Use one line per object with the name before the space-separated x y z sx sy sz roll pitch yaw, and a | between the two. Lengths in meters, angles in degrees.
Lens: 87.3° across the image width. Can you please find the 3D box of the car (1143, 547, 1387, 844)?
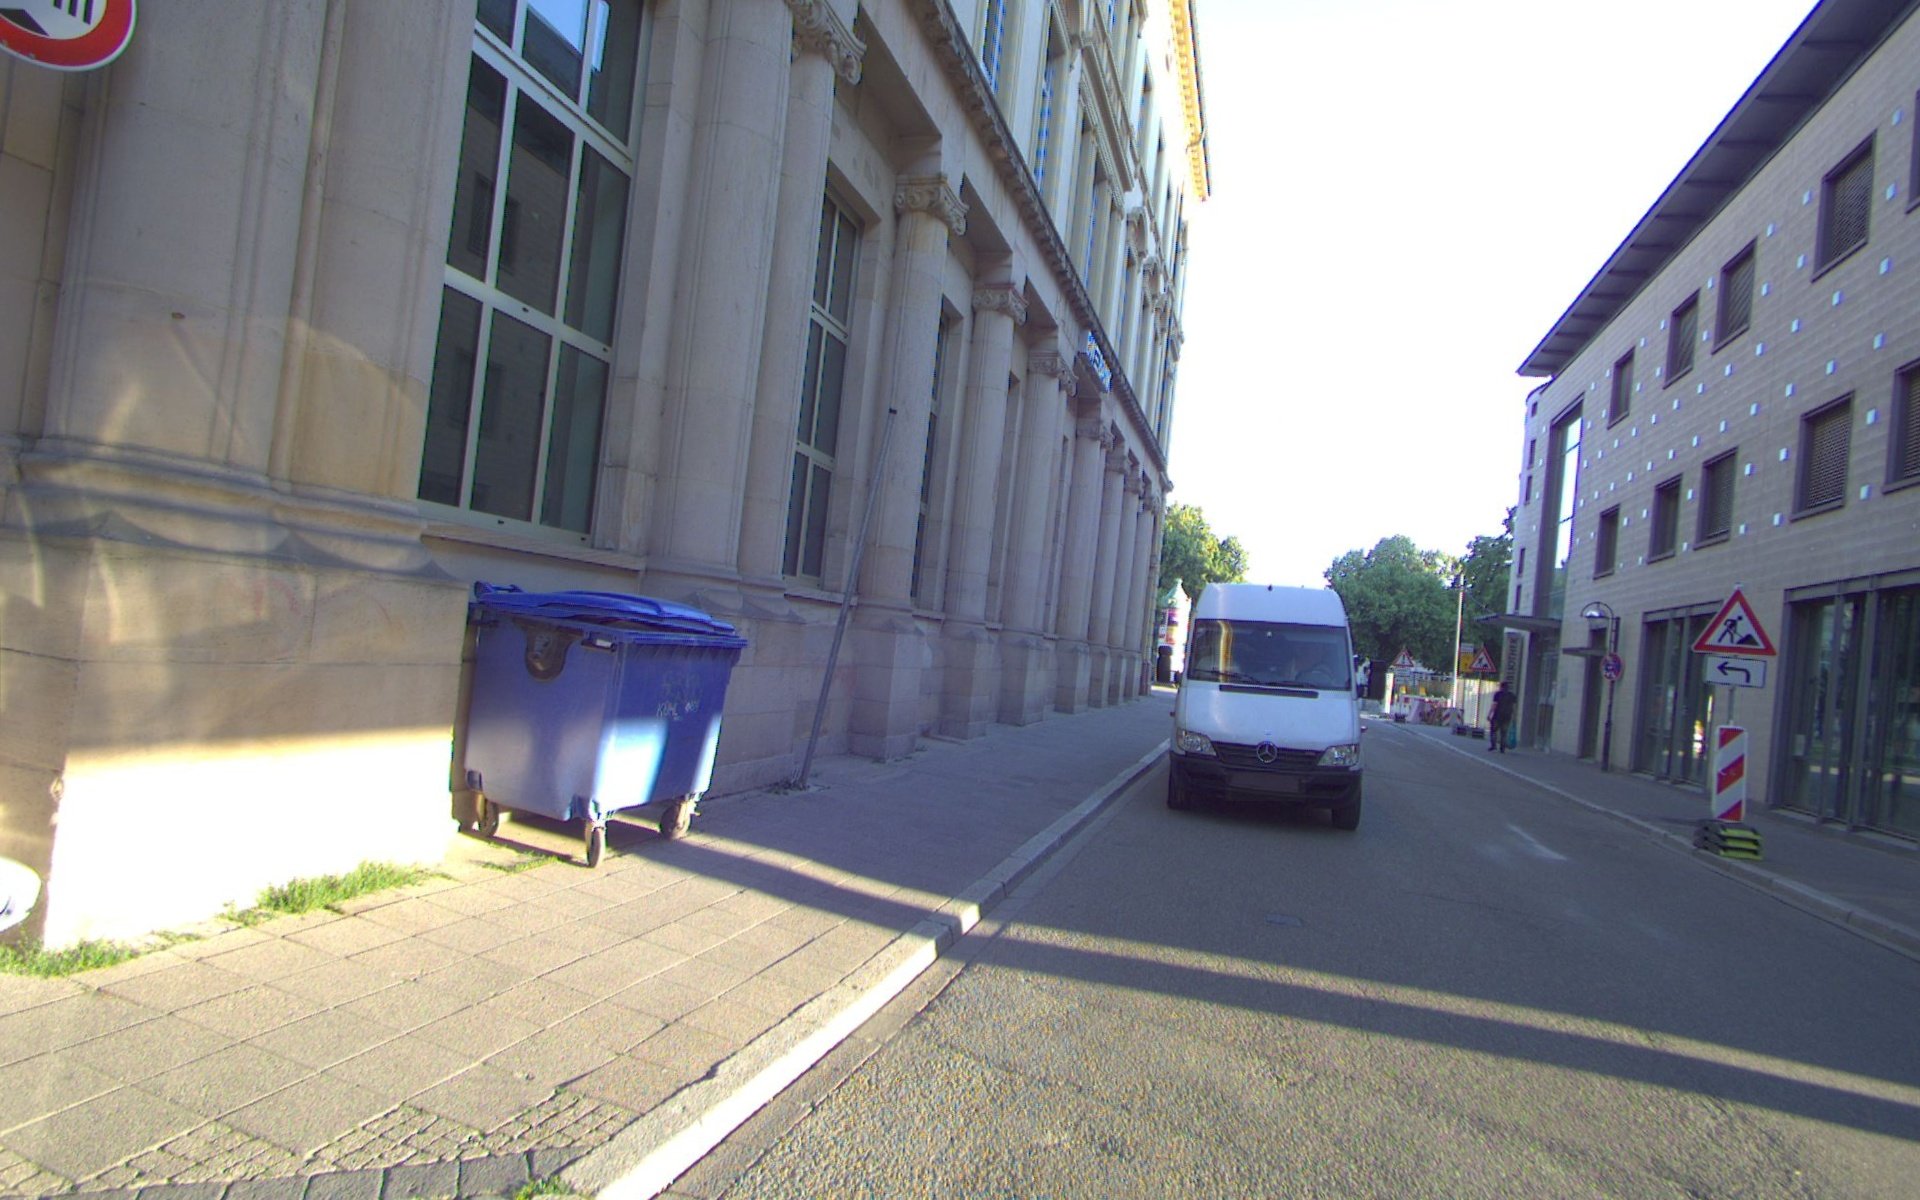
car | 3.701 1.039 12.389 1.964 2.542 6.475 5 -2 17

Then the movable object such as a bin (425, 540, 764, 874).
movable object such as a bin | -1.966 0.551 5.578 1.057 1.492 1.188 9 0 21

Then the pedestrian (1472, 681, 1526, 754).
pedestrian | 13.806 2.993 25.780 0.908 1.722 0.869 6 -1 18
